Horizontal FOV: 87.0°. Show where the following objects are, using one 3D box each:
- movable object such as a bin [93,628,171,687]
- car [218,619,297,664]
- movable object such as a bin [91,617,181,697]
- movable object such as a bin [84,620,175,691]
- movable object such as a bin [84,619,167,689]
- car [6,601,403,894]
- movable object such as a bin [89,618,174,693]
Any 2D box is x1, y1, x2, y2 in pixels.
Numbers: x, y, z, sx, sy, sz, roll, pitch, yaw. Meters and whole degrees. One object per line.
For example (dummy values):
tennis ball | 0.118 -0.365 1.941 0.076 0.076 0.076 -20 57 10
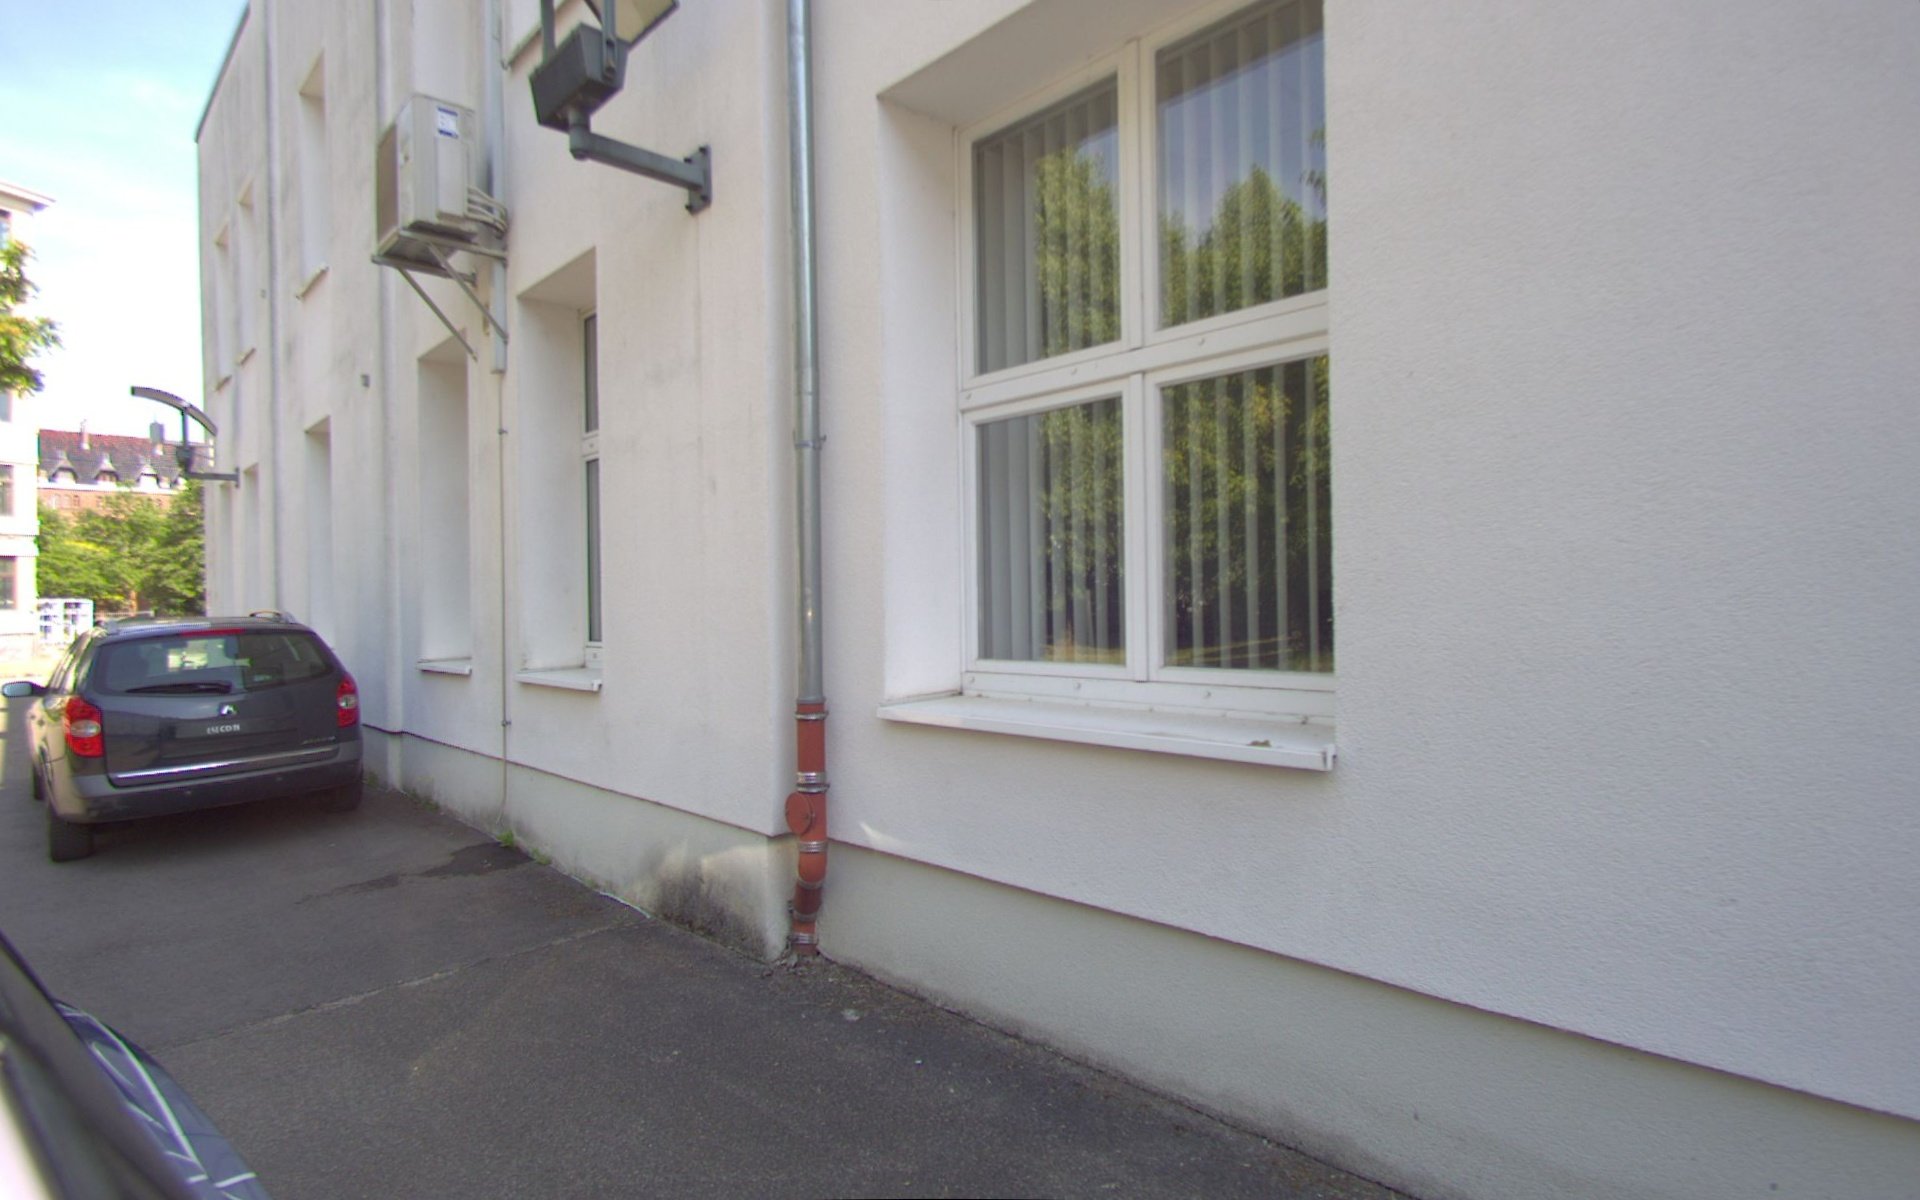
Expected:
movable object such as a bin | -20.974 1.427 25.678 1.226 1.407 1.409 -1 -1 -26
car | -30.938 1.789 44.704 1.889 1.794 4.326 -3 0 -22
movable object such as a bin | -15.930 1.070 19.556 1.230 1.442 1.351 0 -1 -44
movable object such as a bin | -17.839 1.161 21.744 1.221 1.442 1.233 -2 -1 35
movable object such as a bin | -18.786 1.197 22.787 1.338 1.493 1.231 -2 -1 41
car | -5.898 0.797 7.655 1.816 1.452 4.433 -4 3 -44
movable object such as a bin | -16.936 1.113 20.687 1.230 1.442 1.367 0 -1 -44
